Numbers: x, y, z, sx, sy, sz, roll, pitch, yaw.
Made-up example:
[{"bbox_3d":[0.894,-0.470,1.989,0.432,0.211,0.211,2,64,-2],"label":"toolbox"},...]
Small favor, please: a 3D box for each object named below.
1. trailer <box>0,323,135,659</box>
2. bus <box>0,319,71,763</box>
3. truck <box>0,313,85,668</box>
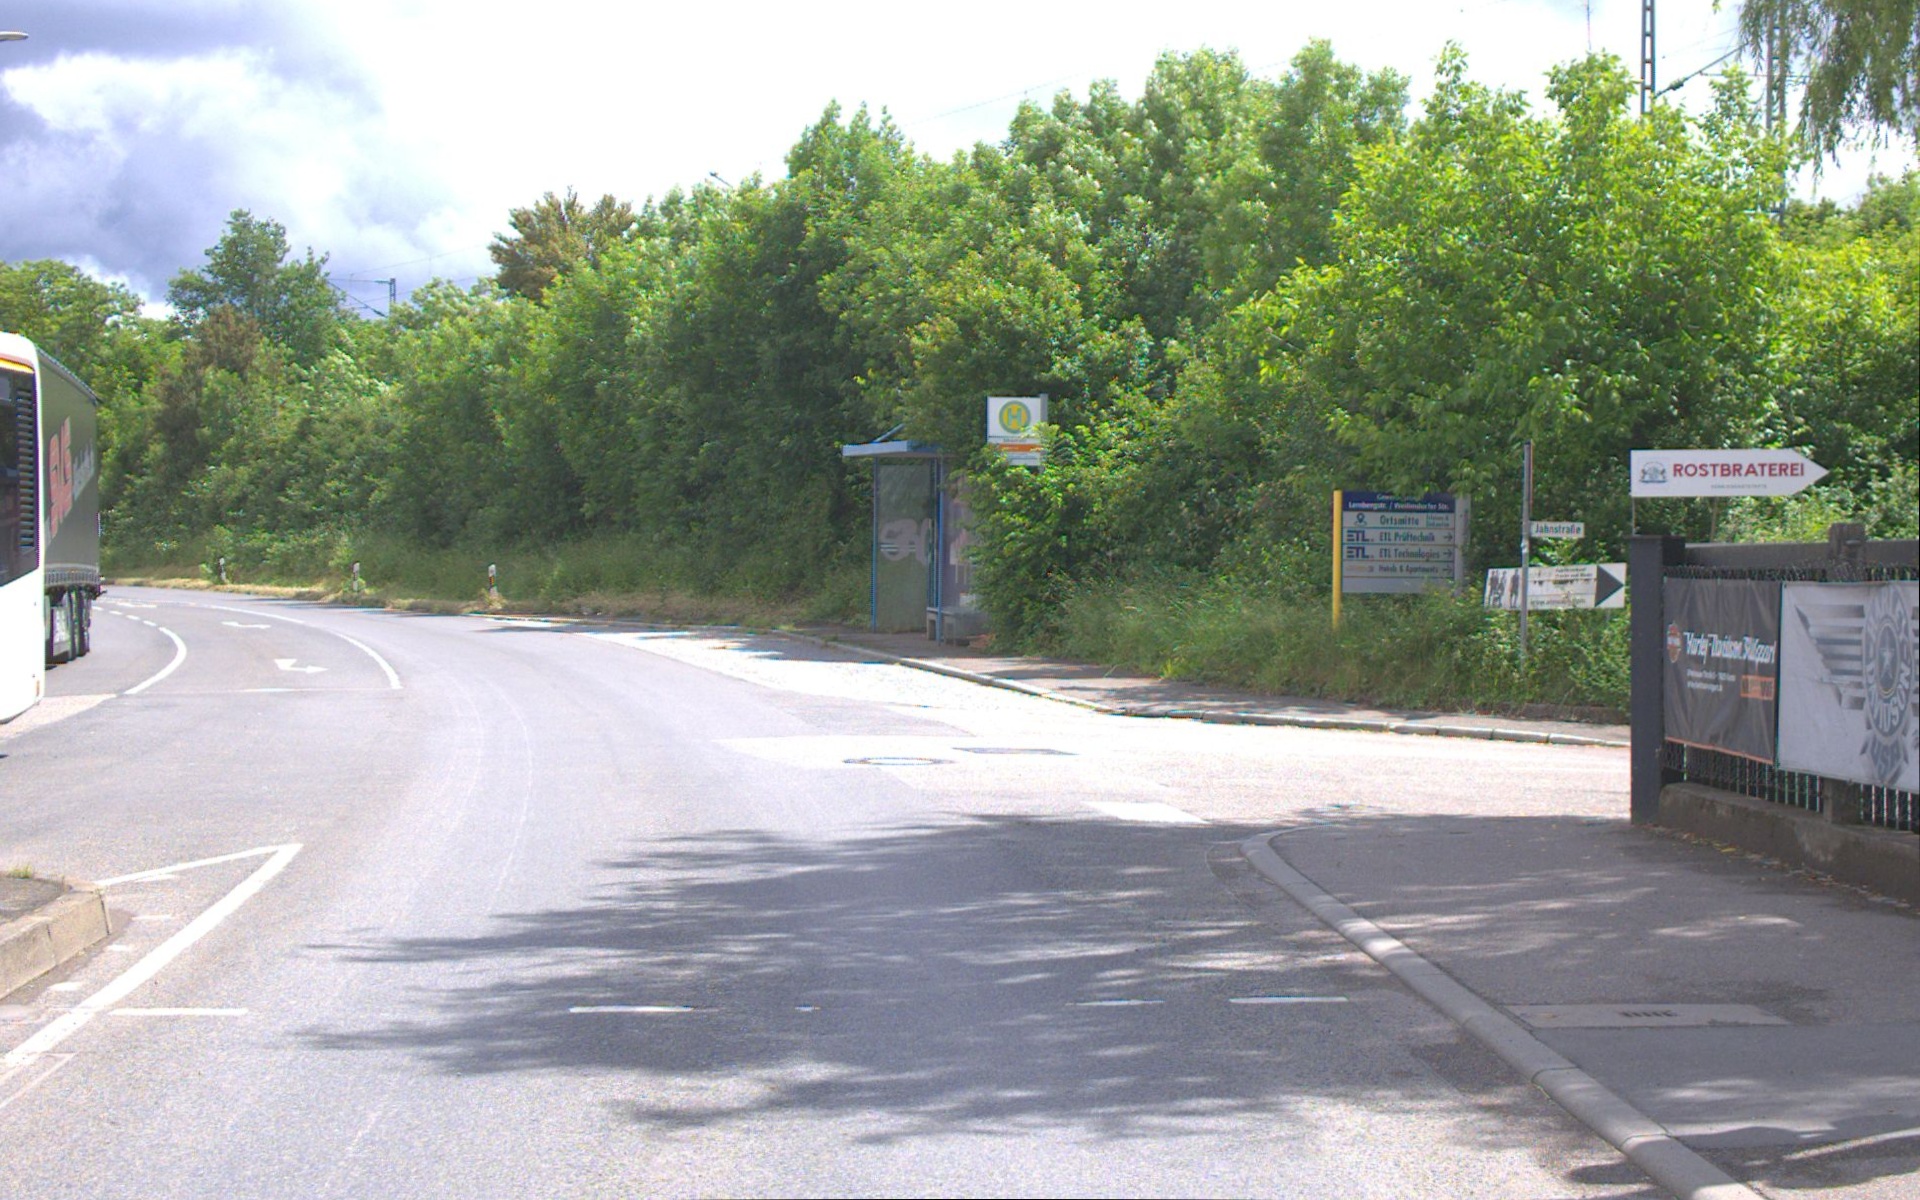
[{"bbox_3d":[-13.668,-1.419,48.990,2.798,4.039,15.560,1,1,-10],"label":"trailer"},{"bbox_3d":[-7.847,-0.352,19.164,2.718,3.020,12.266,0,1,-1],"label":"bus"},{"bbox_3d":[-12.441,-1.303,42.189,2.798,4.039,6.503,1,1,-10],"label":"truck"}]
